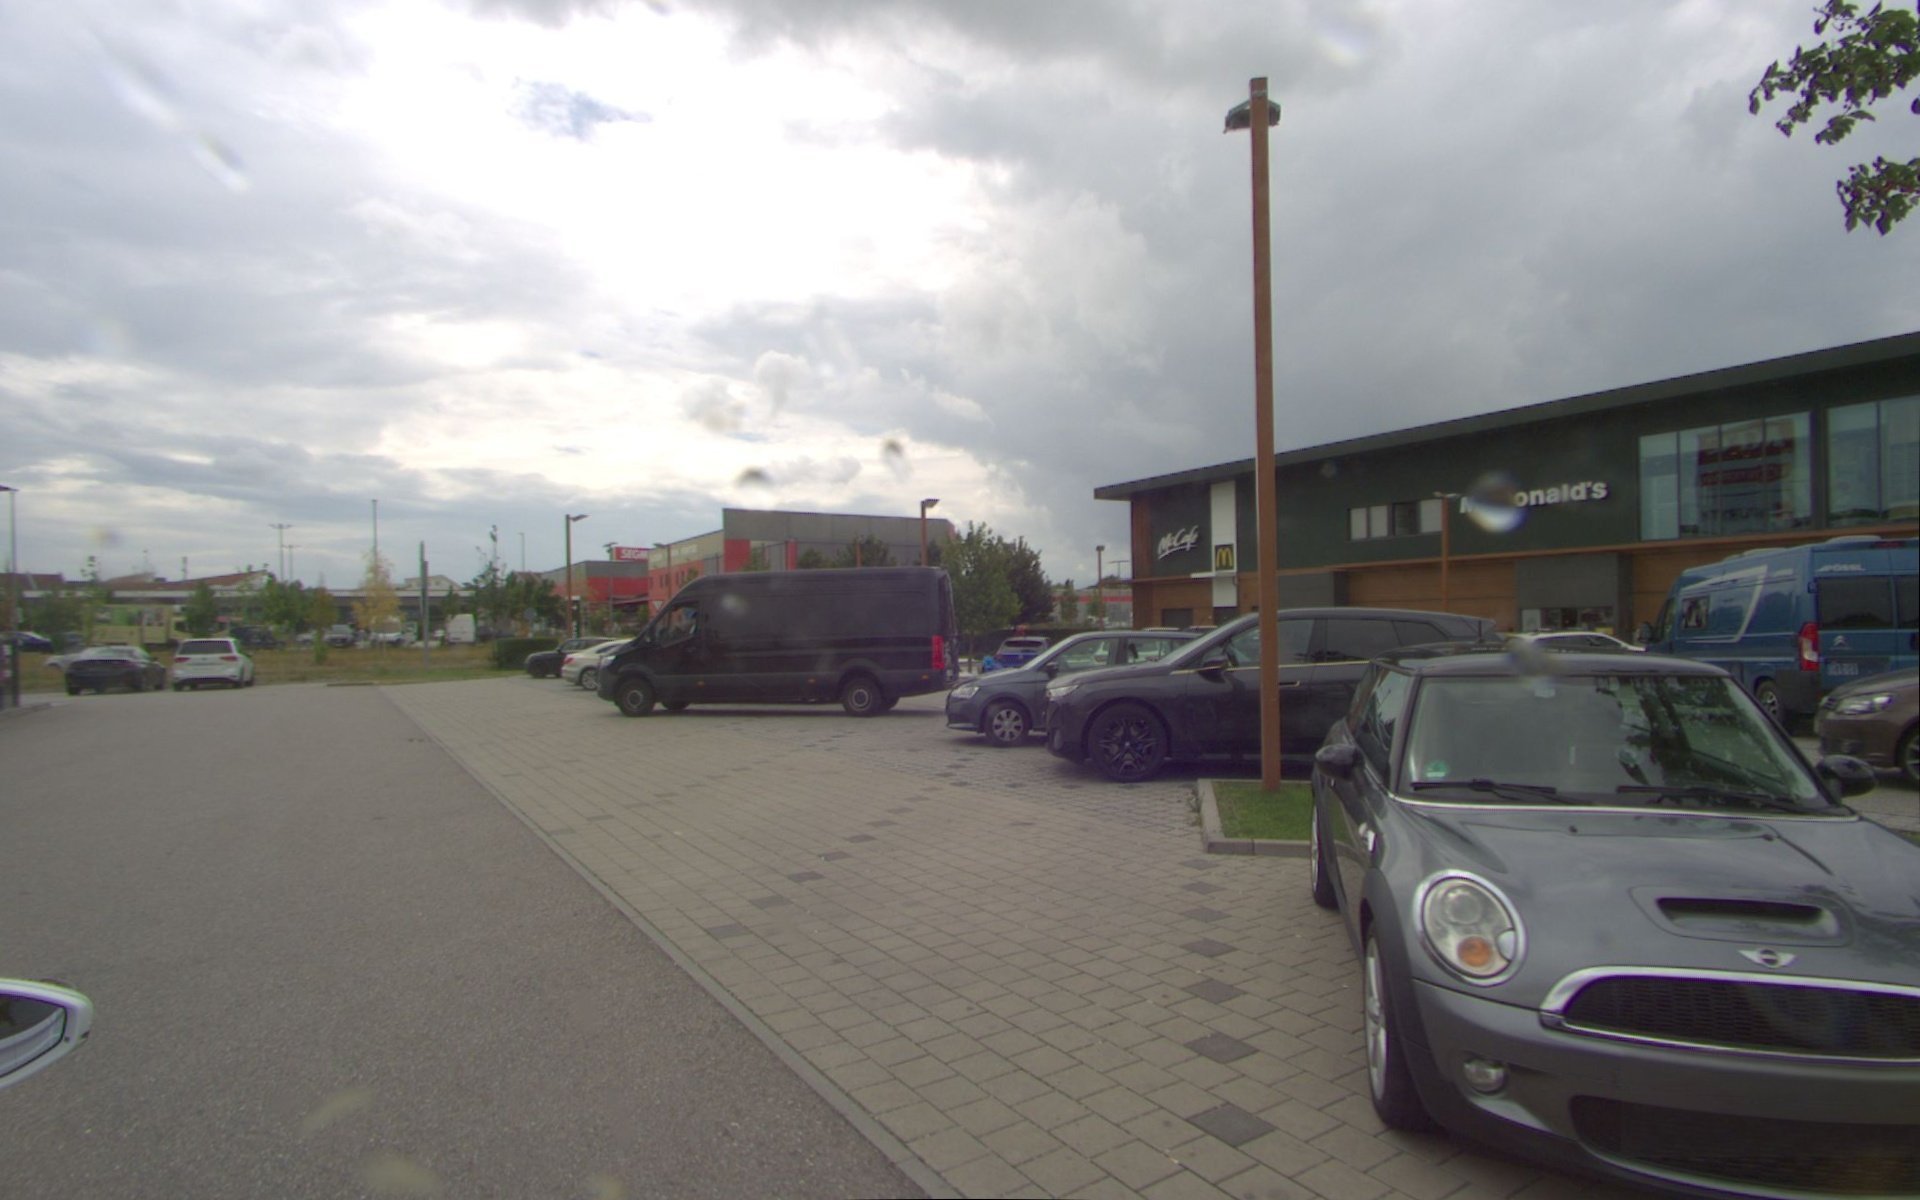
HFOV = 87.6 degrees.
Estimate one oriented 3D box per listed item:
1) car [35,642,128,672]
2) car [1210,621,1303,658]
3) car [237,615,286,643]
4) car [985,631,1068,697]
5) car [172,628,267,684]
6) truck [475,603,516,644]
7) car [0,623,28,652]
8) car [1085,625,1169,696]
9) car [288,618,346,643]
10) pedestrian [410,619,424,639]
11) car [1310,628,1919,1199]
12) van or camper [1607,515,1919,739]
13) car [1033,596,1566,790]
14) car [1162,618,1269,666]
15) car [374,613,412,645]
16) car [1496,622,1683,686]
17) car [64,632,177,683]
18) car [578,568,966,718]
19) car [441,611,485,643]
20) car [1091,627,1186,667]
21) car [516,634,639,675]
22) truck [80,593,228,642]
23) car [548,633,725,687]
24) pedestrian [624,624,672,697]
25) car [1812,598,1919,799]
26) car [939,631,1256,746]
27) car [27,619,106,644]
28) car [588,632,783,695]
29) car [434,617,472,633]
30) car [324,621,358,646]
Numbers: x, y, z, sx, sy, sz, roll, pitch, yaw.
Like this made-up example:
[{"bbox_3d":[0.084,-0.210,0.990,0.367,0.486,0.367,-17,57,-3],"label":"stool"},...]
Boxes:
[{"bbox_3d":[-45.904,2.973,52.400,3.407,1.389,1.426,0,1,-28],"label":"car"},{"bbox_3d":[13.674,1.778,46.390,1.765,1.526,3.974,-1,0,-34],"label":"car"},{"bbox_3d":[-49.989,2.094,71.786,2.045,1.909,5.052,0,-2,-25],"label":"car"},{"bbox_3d":[1.896,1.695,27.459,1.736,1.530,3.997,0,0,11],"label":"car"},{"bbox_3d":[-24.508,1.863,33.302,1.963,1.734,4.355,0,-3,-29],"label":"car"},{"bbox_3d":[-45.442,2.241,97.806,2.620,3.793,8.206,-1,1,-32],"label":"truck"},{"bbox_3d":[-63.696,2.458,65.788,1.898,1.795,4.311,0,0,-18],"label":"car"},{"bbox_3d":[3.895,1.369,23.878,1.746,1.486,4.112,2,-1,7],"label":"car"},{"bbox_3d":[-54.909,2.581,85.552,3.953,2.040,1.984,0,1,-38],"label":"car"},{"bbox_3d":[-40.457,2.132,74.627,0.777,1.448,0.971,-1,1,-36],"label":"pedestrian"},{"bbox_3d":[2.297,0.863,3.837,1.580,1.394,3.522,0,0,16],"label":"car"},{"bbox_3d":[12.390,0.456,15.400,2.132,2.735,6.570,0,-2,15],"label":"van or camper"},{"bbox_3d":[3.228,0.858,10.368,4.802,1.750,2.000,0,-1,8],"label":"car"},{"bbox_3d":[9.904,1.594,39.145,3.924,1.773,1.998,0,1,11],"label":"car"},{"bbox_3d":[-42.675,2.118,75.308,2.382,2.243,6.025,0,0,-31],"label":"car"},{"bbox_3d":[17.272,1.468,27.641,3.923,1.506,1.790,-3,0,6],"label":"car"},{"bbox_3d":[-26.764,1.855,32.095,1.919,1.484,4.498,0,-3,-29],"label":"car"},{"bbox_3d":[-3.442,0.777,18.871,6.878,2.586,2.073,0,-1,9],"label":"car"},{"bbox_3d":[-38.599,2.068,77.637,2.314,2.298,6.465,-1,0,-33],"label":"car"},{"bbox_3d":[7.493,1.948,42.215,3.829,1.605,1.750,0,1,6],"label":"car"},{"bbox_3d":[-13.908,1.954,36.517,3.854,1.430,1.688,0,-1,6],"label":"car"},{"bbox_3d":[-55.698,1.180,69.259,8.269,3.239,3.028,0,1,7],"label":"truck"},{"bbox_3d":[-9.012,1.651,28.062,4.374,1.430,1.754,0,-1,8],"label":"car"},{"bbox_3d":[-7.321,1.423,23.550,0.826,1.699,0.750,-1,-2,8],"label":"pedestrian"},{"bbox_3d":[9.933,0.778,8.378,4.141,1.711,1.797,-3,-1,39],"label":"car"},{"bbox_3d":[1.759,1.145,13.430,3.922,1.429,1.833,-1,-2,4],"label":"car"},{"bbox_3d":[-70.522,2.470,79.120,4.260,1.795,1.989,0,1,-31],"label":"car"},{"bbox_3d":[-6.720,1.528,24.709,4.323,1.482,1.687,0,-1,9],"label":"car"},{"bbox_3d":[-60.232,2.958,118.949,3.940,1.759,1.925,0,1,-29],"label":"car"},{"bbox_3d":[-45.342,2.410,73.457,2.048,1.660,5.041,0,0,-31],"label":"car"}]
